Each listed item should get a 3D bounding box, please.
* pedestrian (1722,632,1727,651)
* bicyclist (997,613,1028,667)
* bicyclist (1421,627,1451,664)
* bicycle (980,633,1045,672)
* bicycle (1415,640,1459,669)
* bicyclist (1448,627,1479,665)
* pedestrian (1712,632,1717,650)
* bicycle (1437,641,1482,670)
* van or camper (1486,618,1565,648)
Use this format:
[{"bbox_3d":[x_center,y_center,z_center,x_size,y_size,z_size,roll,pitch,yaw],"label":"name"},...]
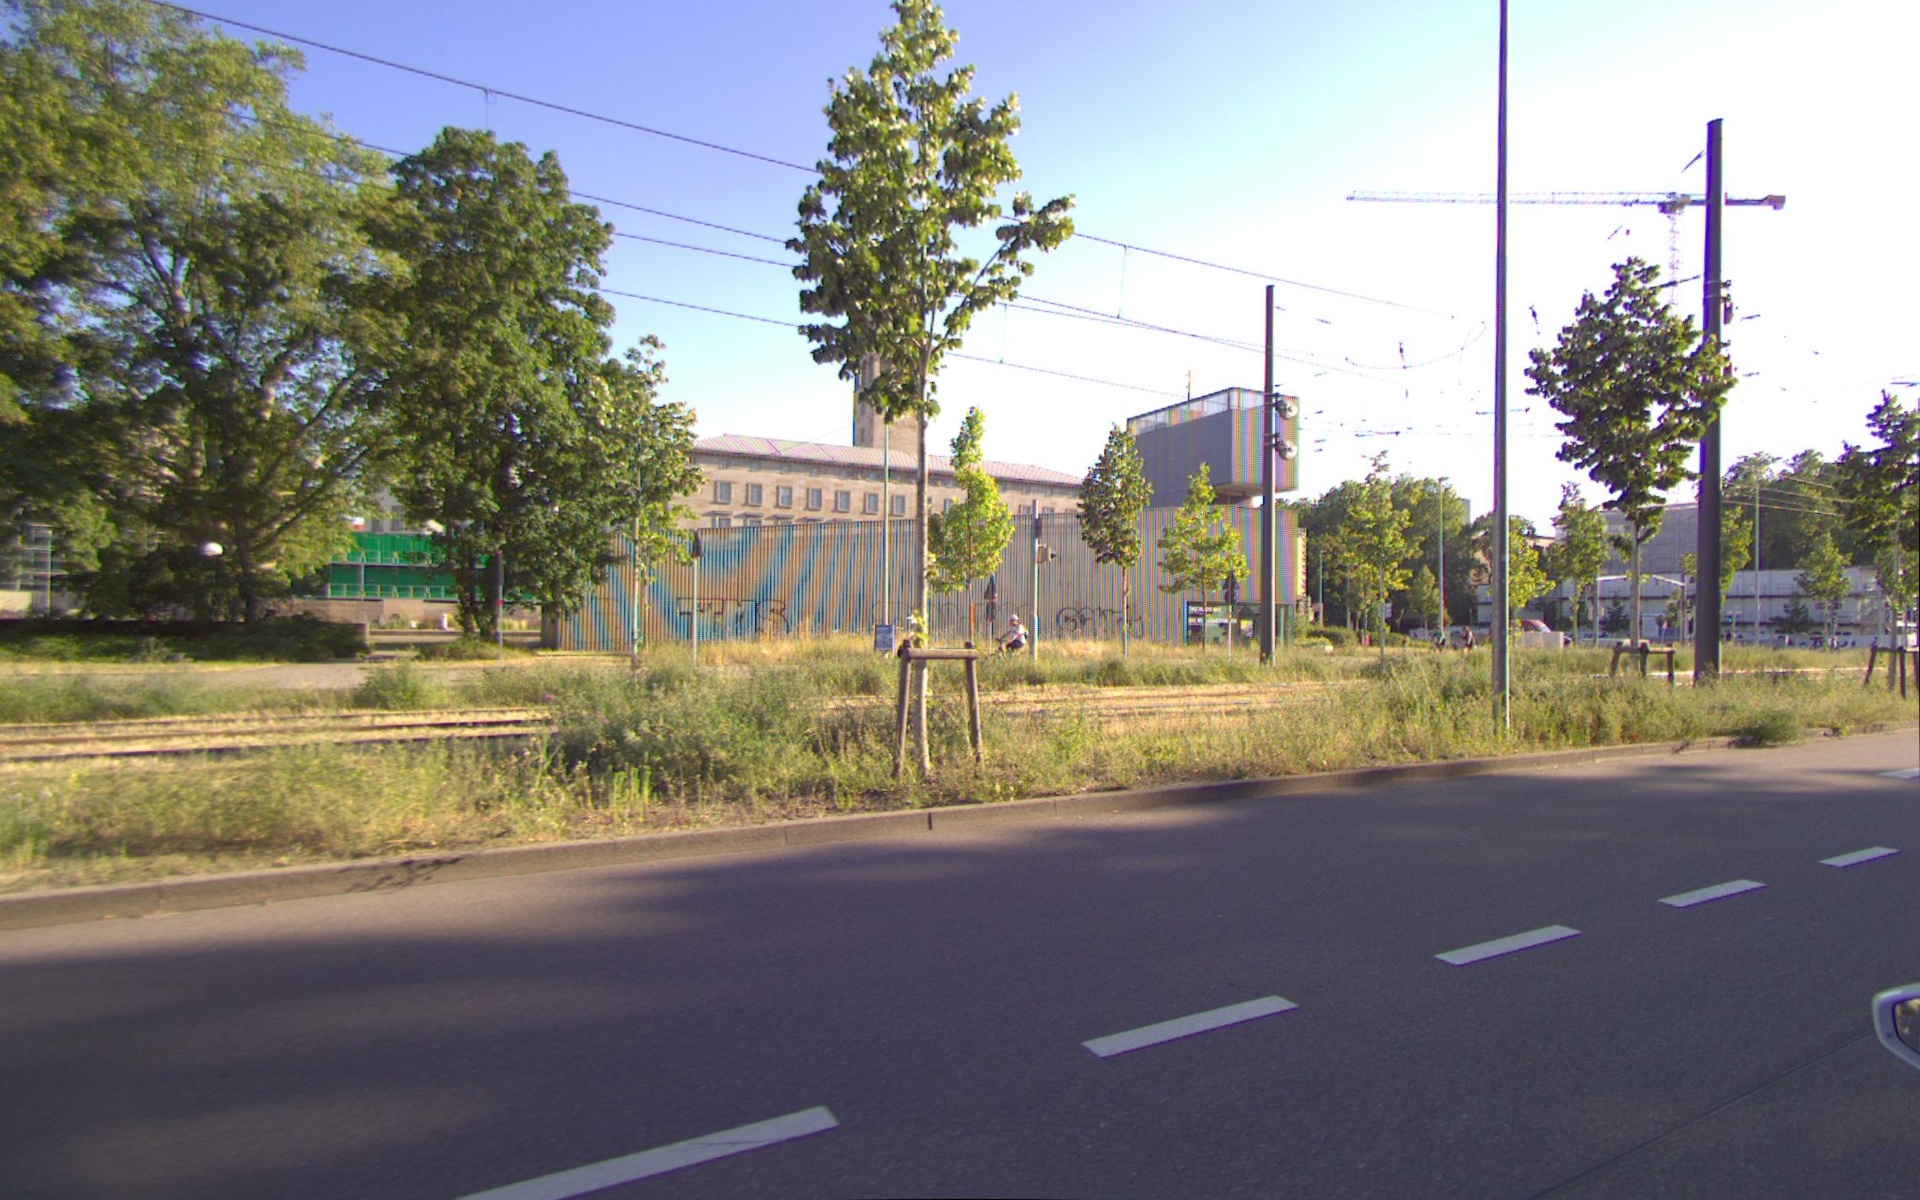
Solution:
[{"bbox_3d":[61.708,3.360,81.082,0.269,1.484,0.315,1,-1,32],"label":"pedestrian"},{"bbox_3d":[1.503,1.149,28.802,0.660,1.527,0.554,1,-1,-30],"label":"bicyclist"},{"bbox_3d":[19.058,1.818,40.208,1.063,1.461,0.581,1,0,-30],"label":"bicyclist"},{"bbox_3d":[1.518,1.502,28.813,1.876,1.074,0.556,1,-1,-30],"label":"bicycle"},{"bbox_3d":[19.112,2.172,40.253,1.964,1.119,0.581,1,0,-30],"label":"bicycle"},{"bbox_3d":[19.841,1.805,39.576,1.063,1.461,0.581,1,0,-30],"label":"bicyclist"},{"bbox_3d":[61.239,3.335,81.500,0.271,1.484,0.278,1,-1,45],"label":"pedestrian"},{"bbox_3d":[19.631,2.168,39.458,1.964,1.119,0.581,1,0,-30],"label":"bicycle"},{"bbox_3d":[48.237,2.797,85.853,2.128,2.446,5.638,1,-1,-28],"label":"van or camper"}]
